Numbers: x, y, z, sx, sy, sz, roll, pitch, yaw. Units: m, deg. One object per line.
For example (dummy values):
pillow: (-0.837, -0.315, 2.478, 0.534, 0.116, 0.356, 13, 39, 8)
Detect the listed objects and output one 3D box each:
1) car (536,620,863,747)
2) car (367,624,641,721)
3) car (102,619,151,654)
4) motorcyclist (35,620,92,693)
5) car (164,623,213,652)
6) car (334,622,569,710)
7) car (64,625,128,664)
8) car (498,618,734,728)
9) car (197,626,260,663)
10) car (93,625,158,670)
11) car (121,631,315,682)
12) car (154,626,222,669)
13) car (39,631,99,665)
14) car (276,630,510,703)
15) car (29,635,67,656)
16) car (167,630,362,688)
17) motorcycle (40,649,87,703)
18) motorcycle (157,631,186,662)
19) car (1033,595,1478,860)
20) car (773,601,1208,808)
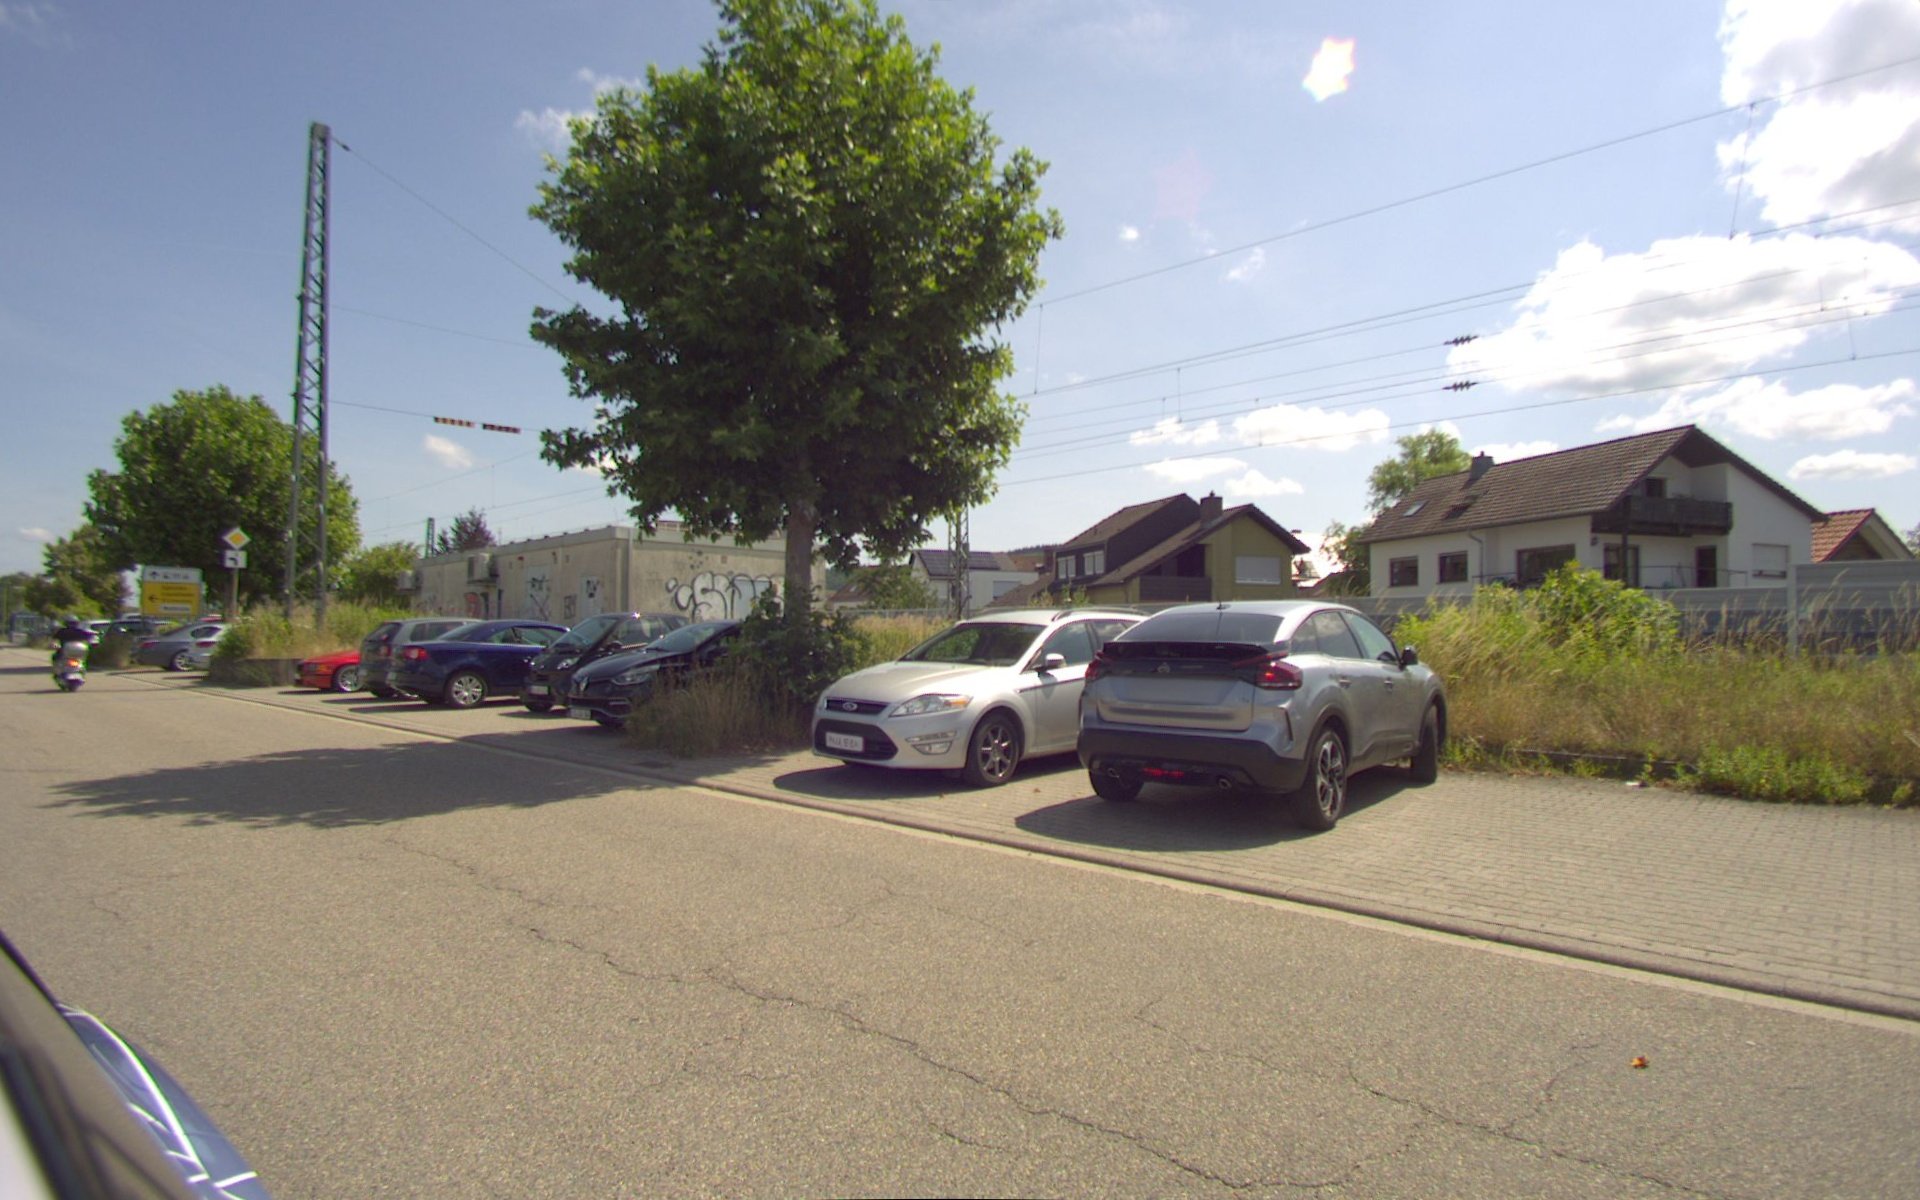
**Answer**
car: (-3.432, 1.066, 13.908, 1.787, 1.484, 4.028, -1, -3, 43)
car: (-7.711, 1.180, 17.336, 3.898, 1.461, 1.788, 2, -3, -43)
car: (-46.953, 2.061, 56.997, 1.925, 1.847, 3.840, 3, -3, -42)
motorcyclist: (-19.256, 1.195, 21.732, 0.920, 1.521, 0.768, -1, -2, 40)
car: (-46.127, 2.242, 60.471, 1.925, 1.621, 4.277, 3, -3, -42)
car: (-9.541, 1.180, 19.184, 1.683, 1.459, 3.628, -2, -1, 40)
car: (-37.434, 1.910, 43.815, 1.782, 1.576, 4.265, 3, -4, -45)
car: (-5.385, 1.093, 16.071, 1.601, 1.550, 3.155, -1, -2, 40)
car: (-34.429, 2.101, 47.580, 1.969, 1.670, 4.268, 3, -4, -41)
car: (-30.319, 1.695, 36.731, 1.664, 1.542, 4.068, 3, -3, -41)
car: (-22.236, 1.670, 30.476, 1.786, 1.421, 4.381, -1, -3, 40)
car: (-29.026, 1.775, 38.020, 1.769, 1.548, 3.583, 3, -3, -41)
car: (-42.786, 2.304, 48.589, 3.961, 1.556, 1.770, -2, -3, 43)
car: (-11.927, 1.365, 21.491, 1.674, 1.379, 4.028, -3, -3, 43)
car: (-61.099, 3.032, 67.793, 4.001, 1.360, 1.585, -2, -3, 44)
car: (-18.724, 1.537, 27.379, 1.785, 1.412, 4.031, -1, -2, 40)
motorcycle: (-19.228, 1.613, 21.691, 1.954, 1.059, 0.458, -1, -2, 40)
motorcycle: (-35.716, 2.097, 45.826, 0.728, 1.383, 3.217, 3, -4, -43)
car: (2.554, 0.812, 8.124, 1.999, 1.559, 3.946, -1, -2, 40)
car: (0.495, 0.849, 9.830, 1.926, 1.544, 4.291, -2, -3, 42)
